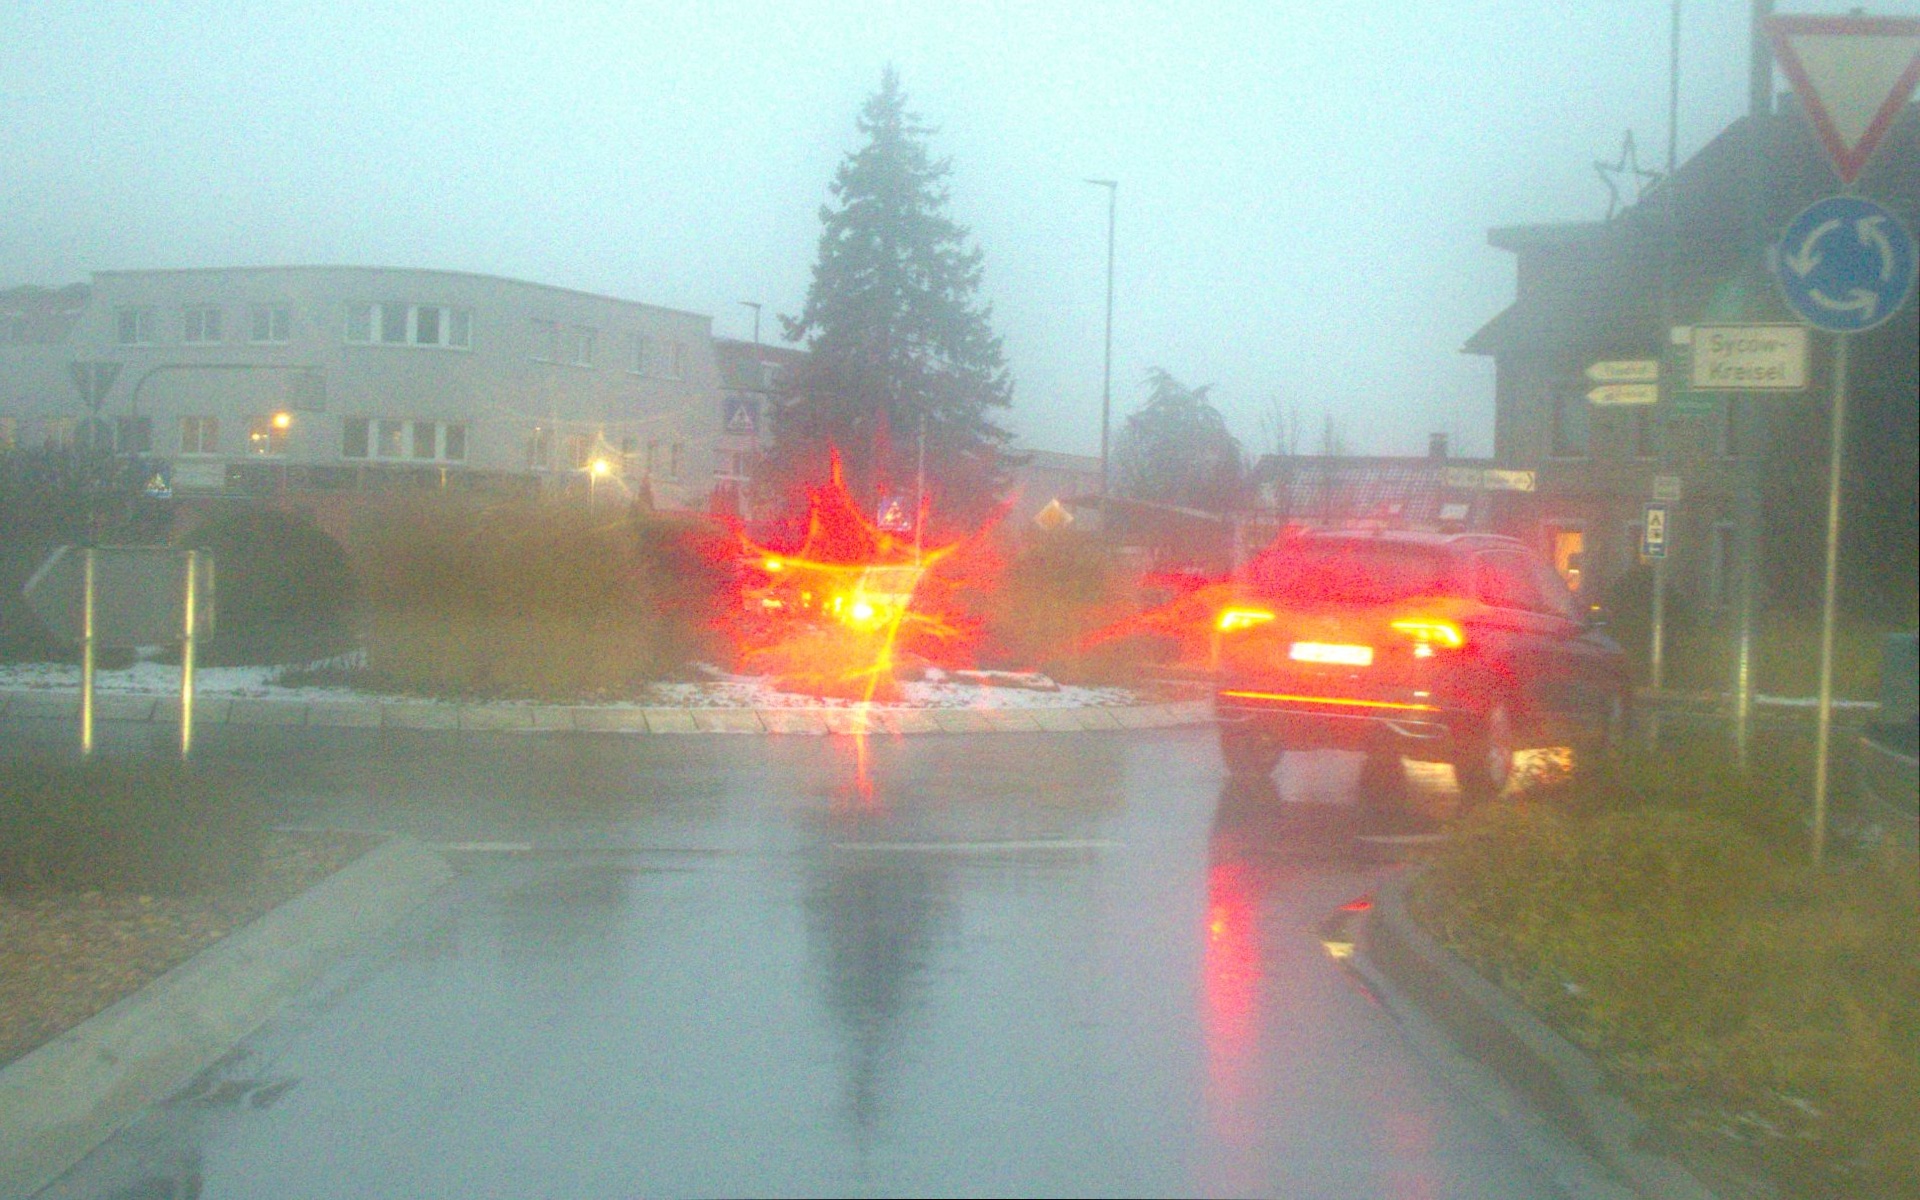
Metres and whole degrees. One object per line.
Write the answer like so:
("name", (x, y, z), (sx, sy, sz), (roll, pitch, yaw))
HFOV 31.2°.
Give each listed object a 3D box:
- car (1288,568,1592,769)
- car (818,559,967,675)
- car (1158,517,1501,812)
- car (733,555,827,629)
("car", (4.629, 0.606, 33.900), (2.163, 1.683, 4.572), (1, 2, -2))
("car", (-1.054, 0.274, 51.281), (1.882, 1.609, 4.572), (1, -1, -5))
("car", (2.358, 0.367, 22.903), (1.944, 1.712, 4.000), (2, 1, 2))
("car", (-3.926, -0.181, 74.338), (1.772, 1.539, 4.001), (1, 0, -6))
